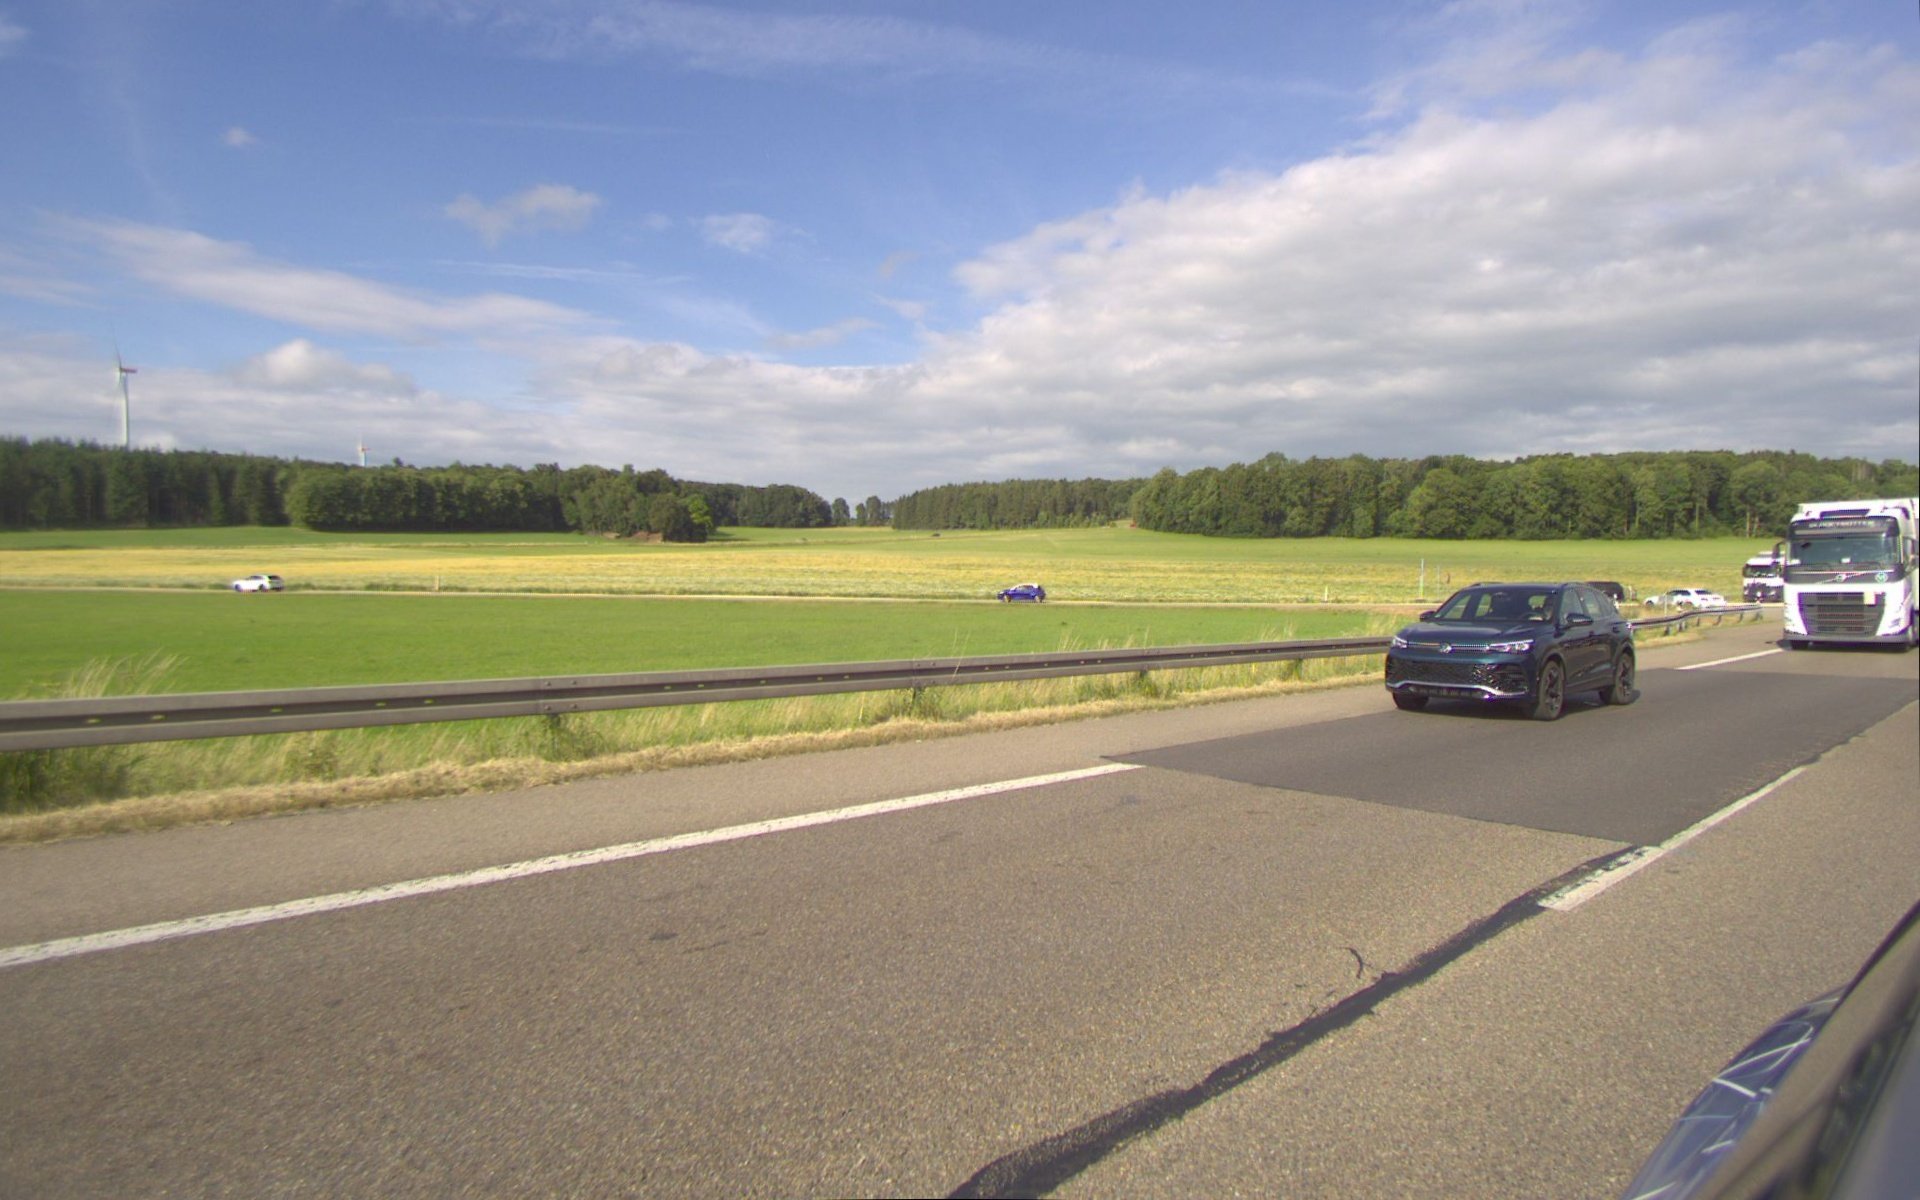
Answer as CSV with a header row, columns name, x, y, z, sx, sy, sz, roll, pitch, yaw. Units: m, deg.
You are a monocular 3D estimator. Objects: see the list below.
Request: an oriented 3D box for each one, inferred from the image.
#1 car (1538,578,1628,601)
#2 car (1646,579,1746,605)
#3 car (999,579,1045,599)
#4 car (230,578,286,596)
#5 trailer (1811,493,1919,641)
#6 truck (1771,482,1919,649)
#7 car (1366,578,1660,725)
name,x,y,z,sx,sy,sz,roll,pitch,yaw
car,44.776,-0.735,72.833,5.037,1.576,1.995,0,0,10
car,46.368,-0.492,63.941,1.958,1.565,5.091,0,1,-12
car,4.951,-0.899,80.704,3.506,1.549,1.719,0,0,12
car,-65.508,-1.244,94.456,3.932,1.638,1.996,0,1,8
trailer,30.124,-0.979,31.969,11.911,4.032,2.825,-1,1,-39
truck,24.686,-0.885,27.542,6.385,4.040,2.841,-1,1,-39
car,7.272,0.531,13.167,4.045,1.616,1.998,-1,1,-39
